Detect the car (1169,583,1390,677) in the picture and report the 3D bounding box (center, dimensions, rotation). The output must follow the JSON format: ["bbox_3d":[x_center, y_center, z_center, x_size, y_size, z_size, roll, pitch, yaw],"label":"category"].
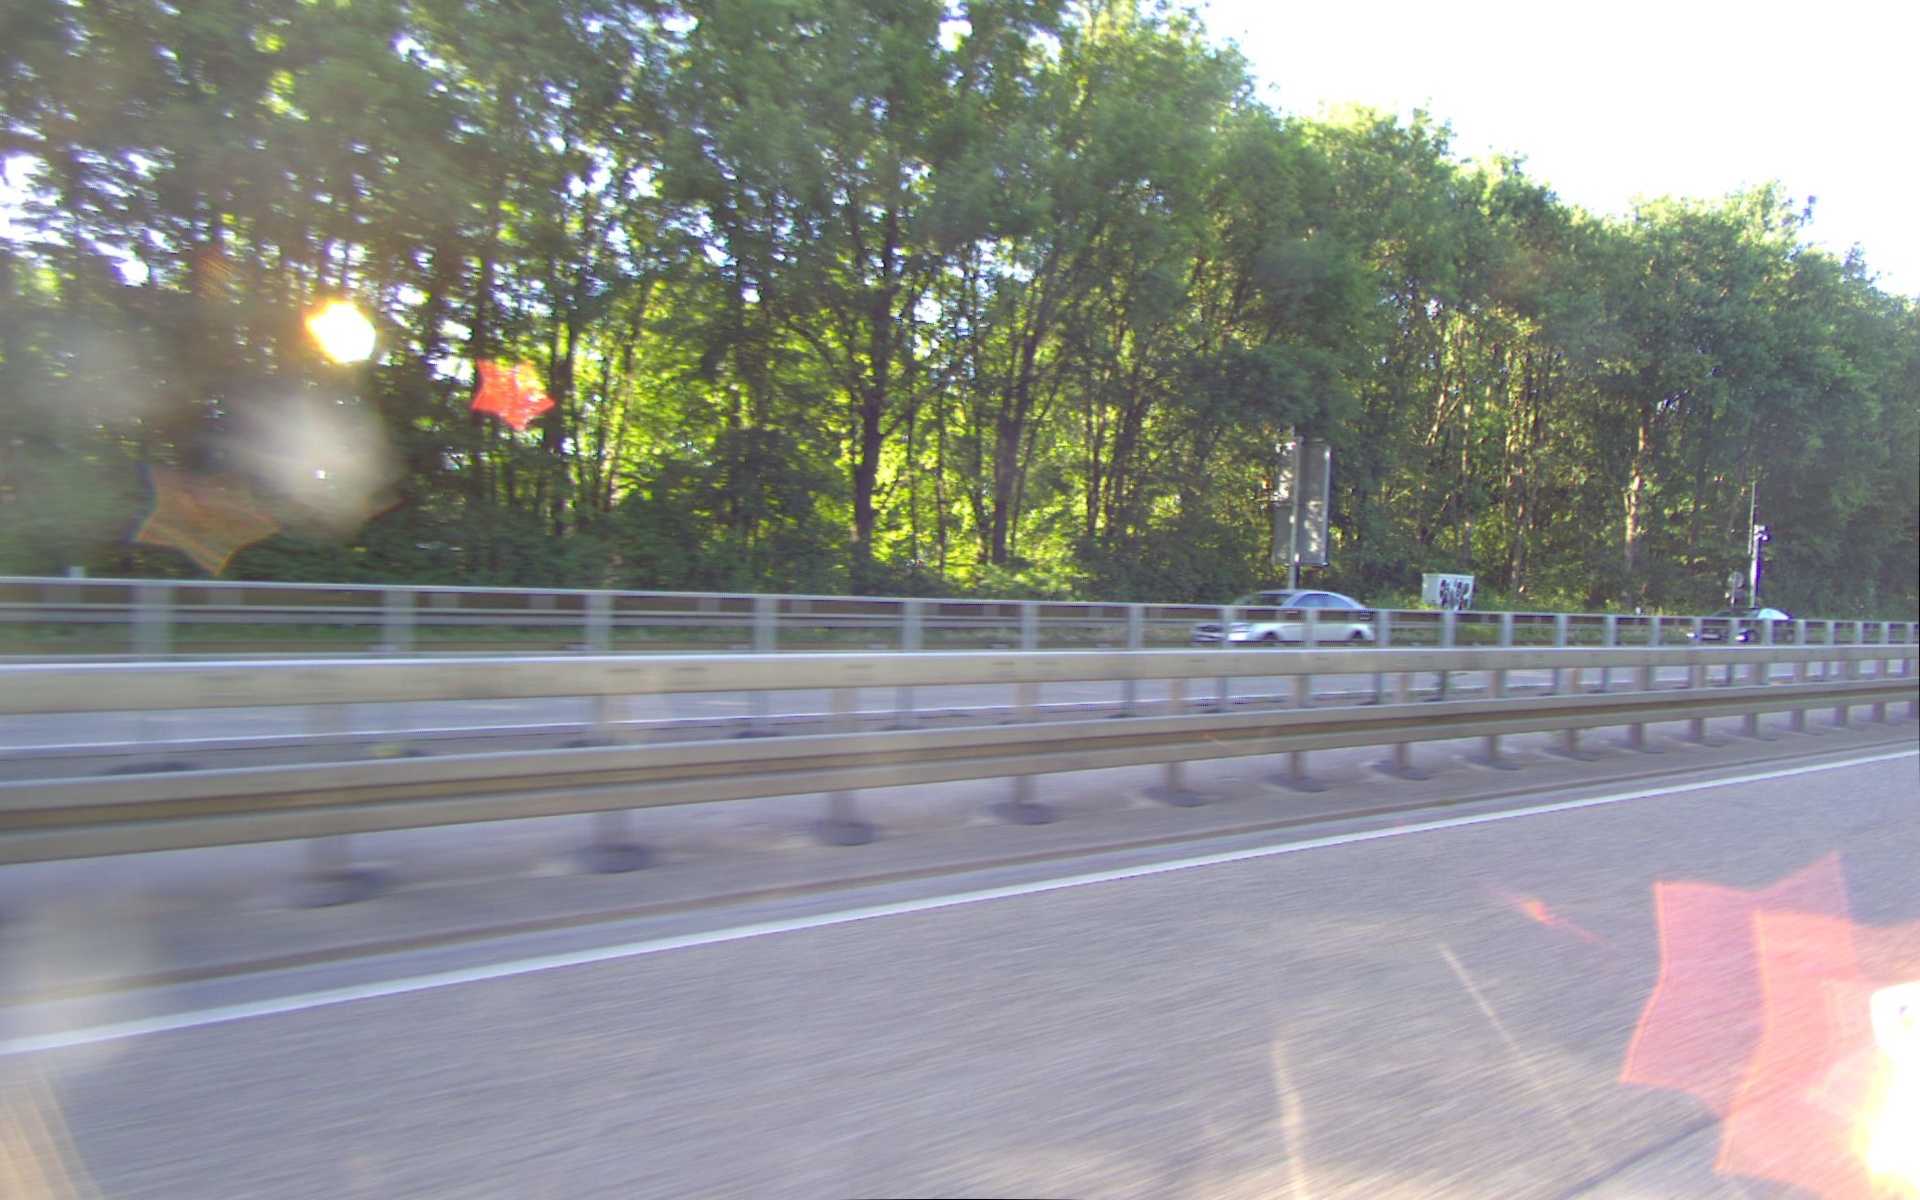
[{"bbox_3d":[6.664,0.611,20.875,4.322,1.773,1.984,2,0,-30],"label":"car"}]

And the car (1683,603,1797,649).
[{"bbox_3d":[28.023,0.916,36.059,4.401,1.509,1.721,1,1,-31],"label":"car"}]

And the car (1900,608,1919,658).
[{"bbox_3d":[31.234,1.057,31.241,4.345,1.509,1.721,1,1,-31],"label":"car"}]
